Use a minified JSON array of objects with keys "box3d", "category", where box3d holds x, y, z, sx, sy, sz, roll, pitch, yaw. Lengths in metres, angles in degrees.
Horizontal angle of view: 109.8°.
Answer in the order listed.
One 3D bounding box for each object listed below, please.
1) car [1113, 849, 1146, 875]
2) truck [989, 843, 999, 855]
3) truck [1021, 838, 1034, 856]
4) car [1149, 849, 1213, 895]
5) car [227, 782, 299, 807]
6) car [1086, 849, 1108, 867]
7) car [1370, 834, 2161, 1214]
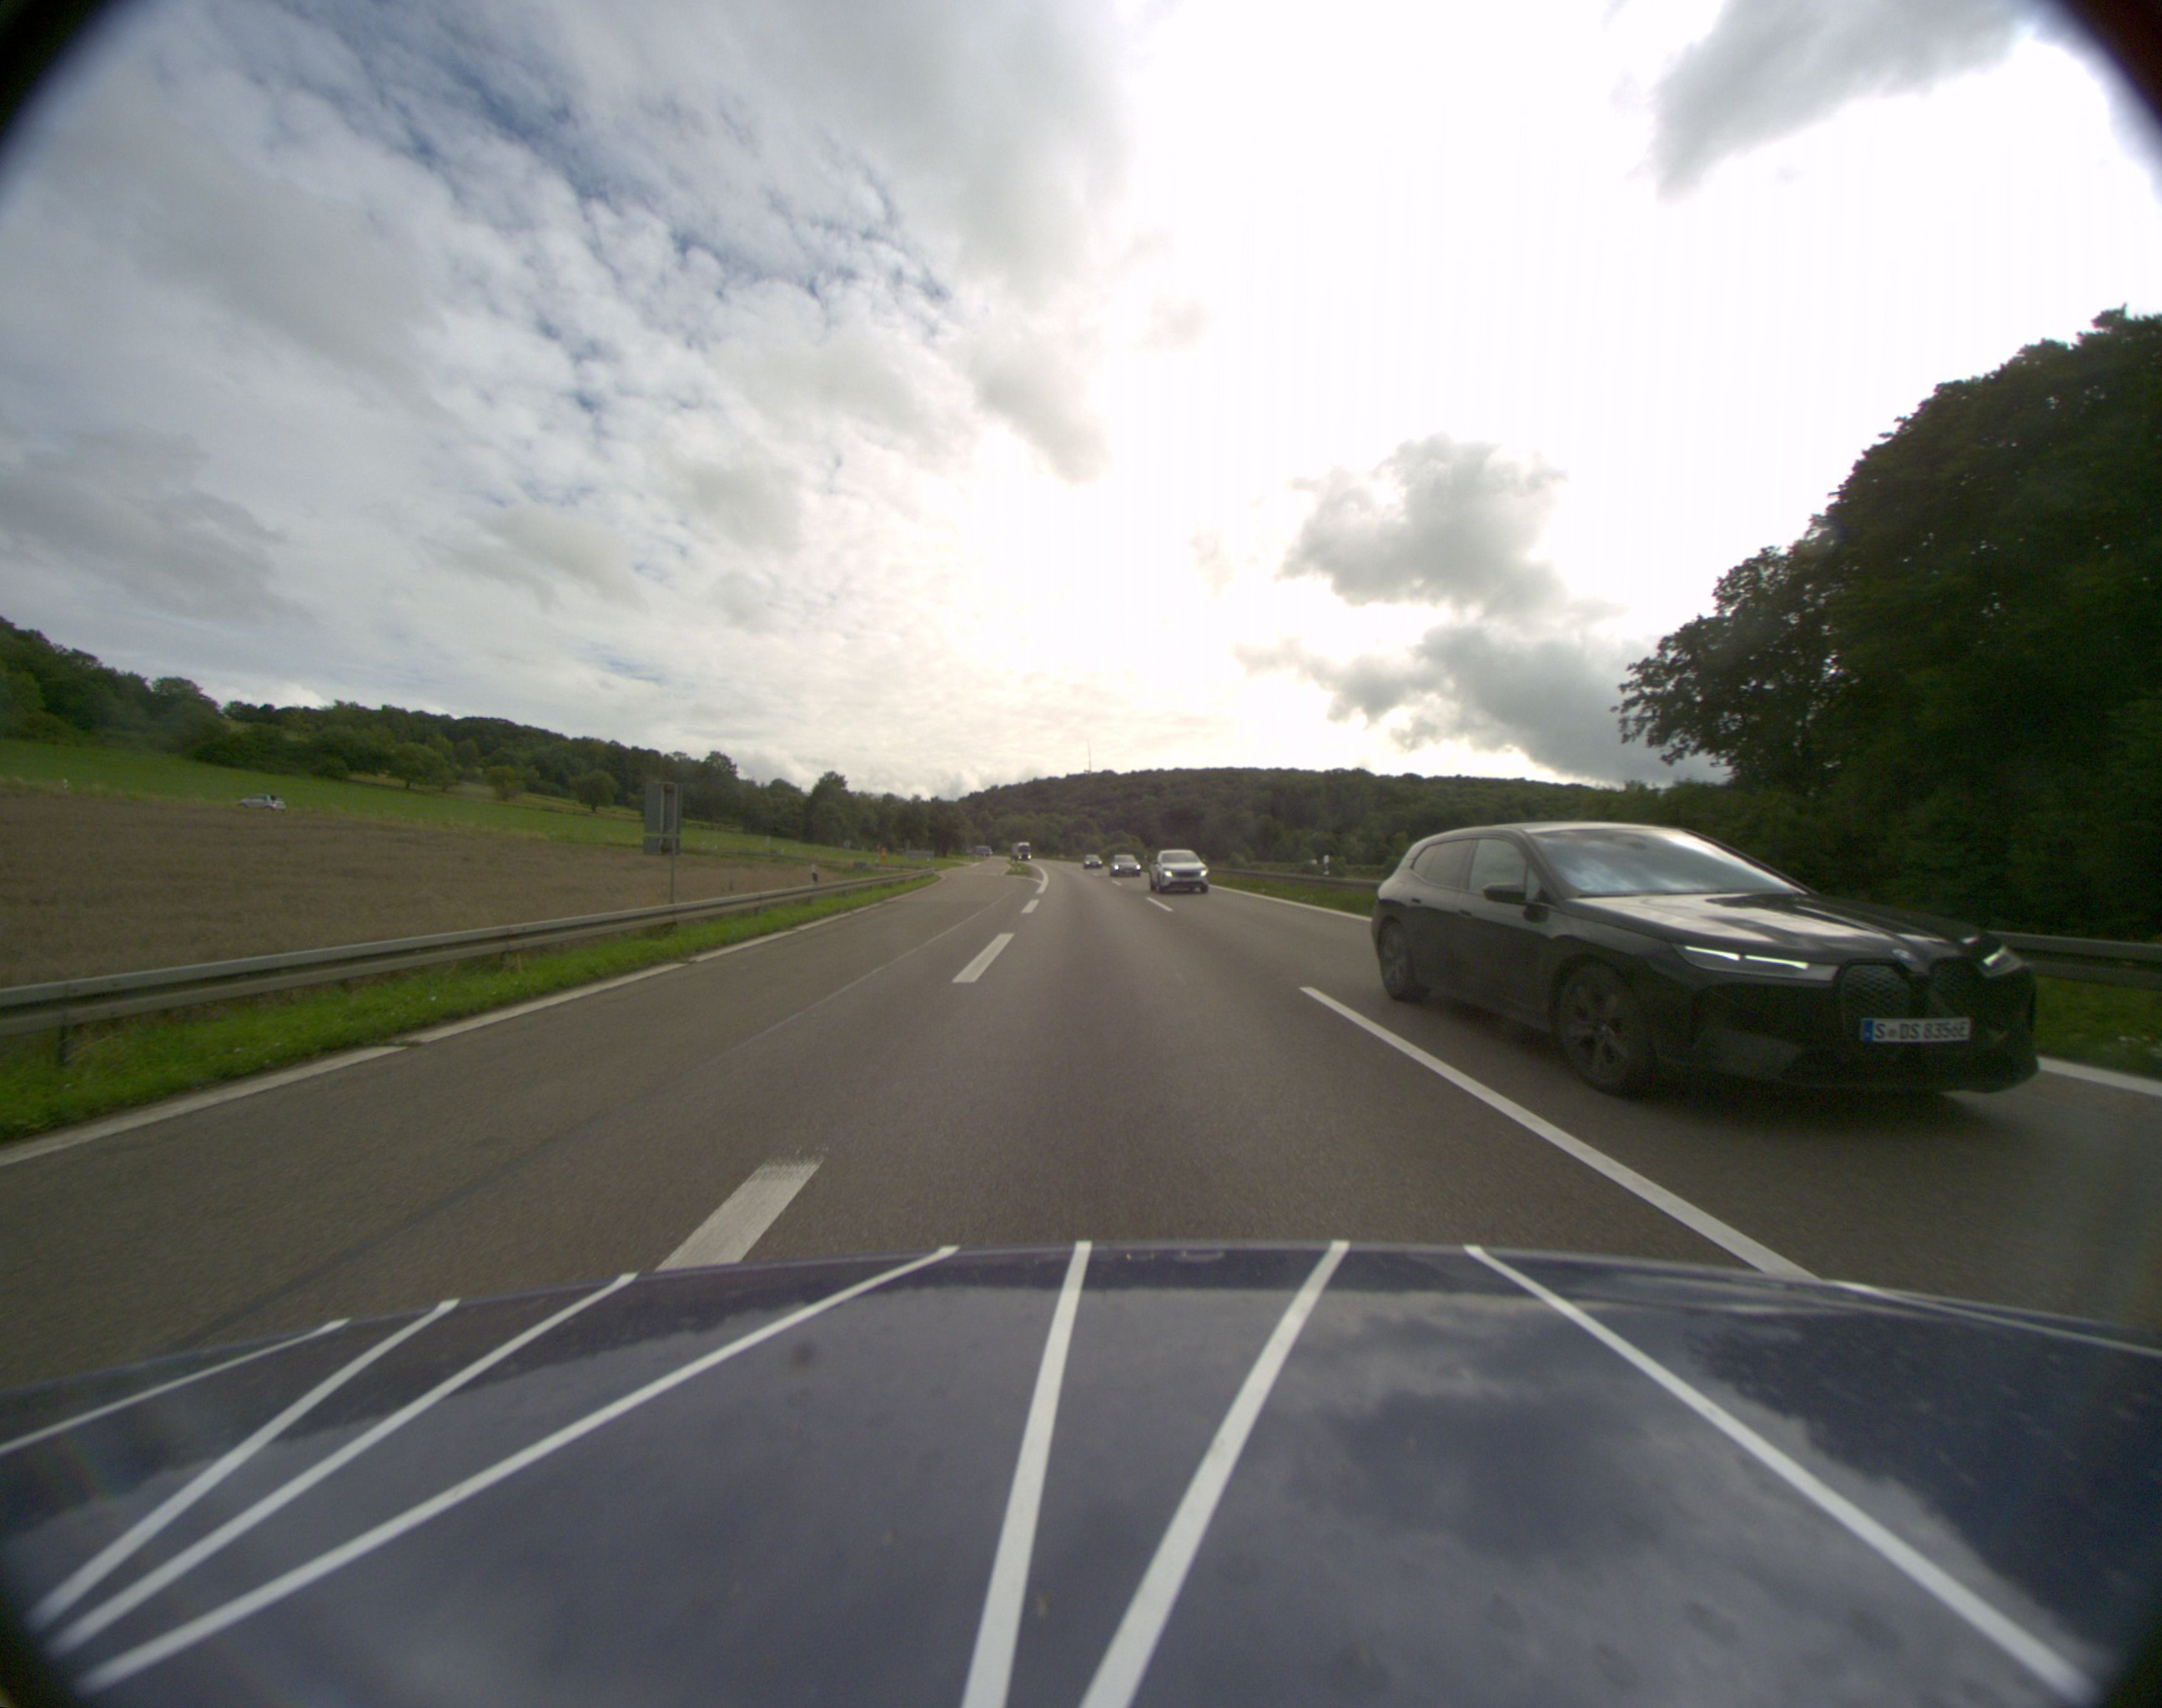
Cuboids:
[{"box3d":[3.327,0.525,53.022,1.999,1.656,4.413,0,1,-1],"category":"car"},{"box3d":[-29.892,-1.645,260.898,2.798,3.949,5.932,0,2,-10],"category":"truck"},{"box3d":[-11.765,-1.540,168.564,2.796,3.949,5.936,0,2,-4],"category":"truck"},{"box3d":[3.891,0.641,30.205,1.998,1.656,4.415,-2,0,1],"category":"car"},{"box3d":[-75.028,-5.466,69.778,4.004,1.542,1.781,8,-4,-15],"category":"car"},{"box3d":[1.679,0.398,79.732,1.999,1.656,4.412,1,2,-2],"category":"car"},{"box3d":[4.007,0.750,5.586,1.999,1.656,4.414,-1,0,-1],"category":"car"}]
